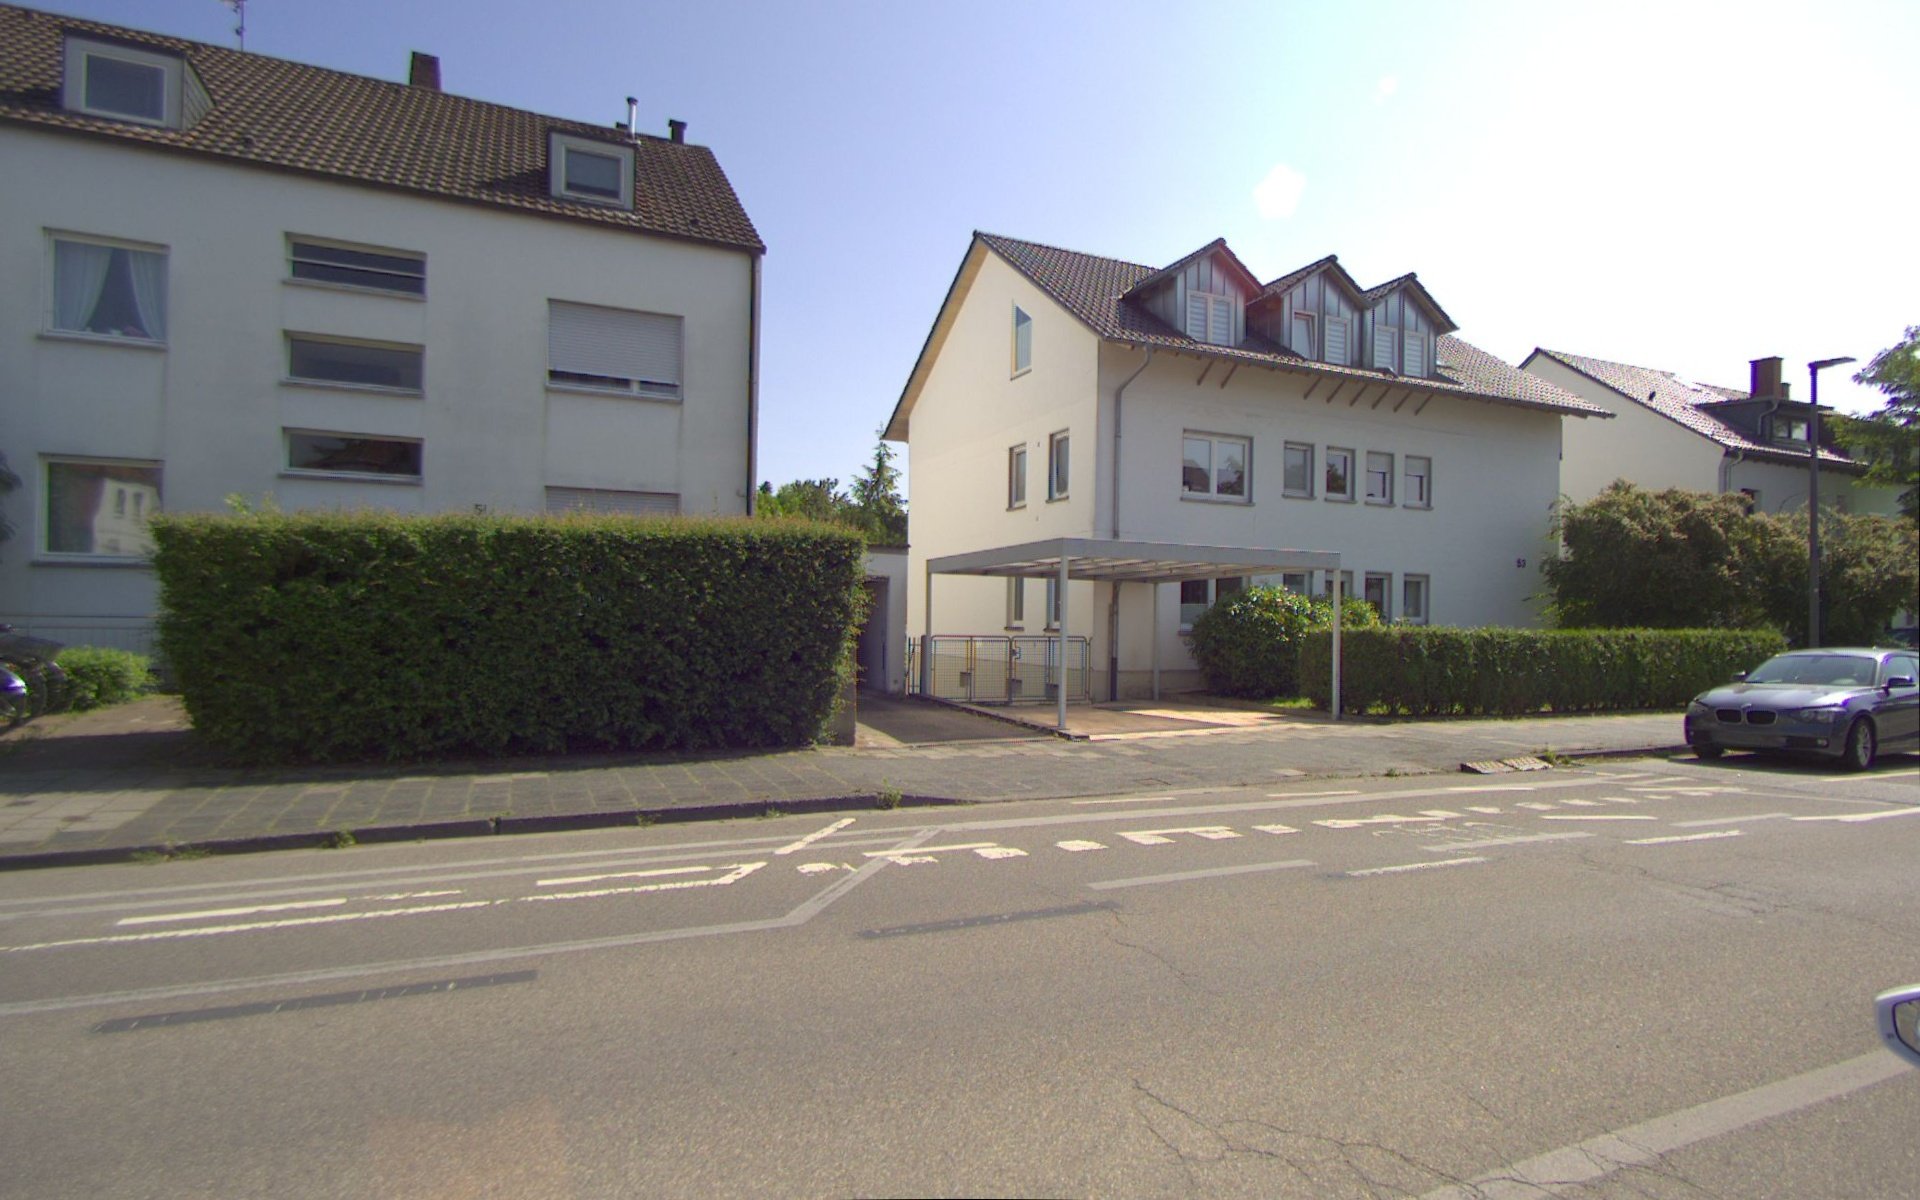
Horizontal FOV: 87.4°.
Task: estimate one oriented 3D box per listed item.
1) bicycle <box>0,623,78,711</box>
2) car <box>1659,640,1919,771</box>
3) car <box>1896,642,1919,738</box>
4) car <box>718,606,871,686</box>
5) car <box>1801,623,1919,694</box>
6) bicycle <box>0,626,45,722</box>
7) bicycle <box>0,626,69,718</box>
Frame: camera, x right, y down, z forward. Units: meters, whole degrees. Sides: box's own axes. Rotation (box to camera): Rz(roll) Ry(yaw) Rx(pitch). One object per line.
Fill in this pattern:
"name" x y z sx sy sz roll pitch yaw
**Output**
"bicycle" -10.086 0.689 10.420 1.354 0.885 0.331 3 3 -31
"car" 11.130 1.270 12.949 4.101 1.459 1.779 2 -3 -27
"car" 16.740 1.417 15.585 4.053 1.459 1.781 2 -2 -23
"car" -3.440 0.871 20.278 1.877 1.434 3.972 2 -1 -27
"car" 25.224 1.543 26.671 1.972 1.783 3.977 1 -1 -23
"bicycle" -9.602 0.697 9.491 1.354 0.885 0.331 3 3 -31
"bicycle" -9.775 0.708 9.950 1.354 0.885 0.331 3 3 -31
